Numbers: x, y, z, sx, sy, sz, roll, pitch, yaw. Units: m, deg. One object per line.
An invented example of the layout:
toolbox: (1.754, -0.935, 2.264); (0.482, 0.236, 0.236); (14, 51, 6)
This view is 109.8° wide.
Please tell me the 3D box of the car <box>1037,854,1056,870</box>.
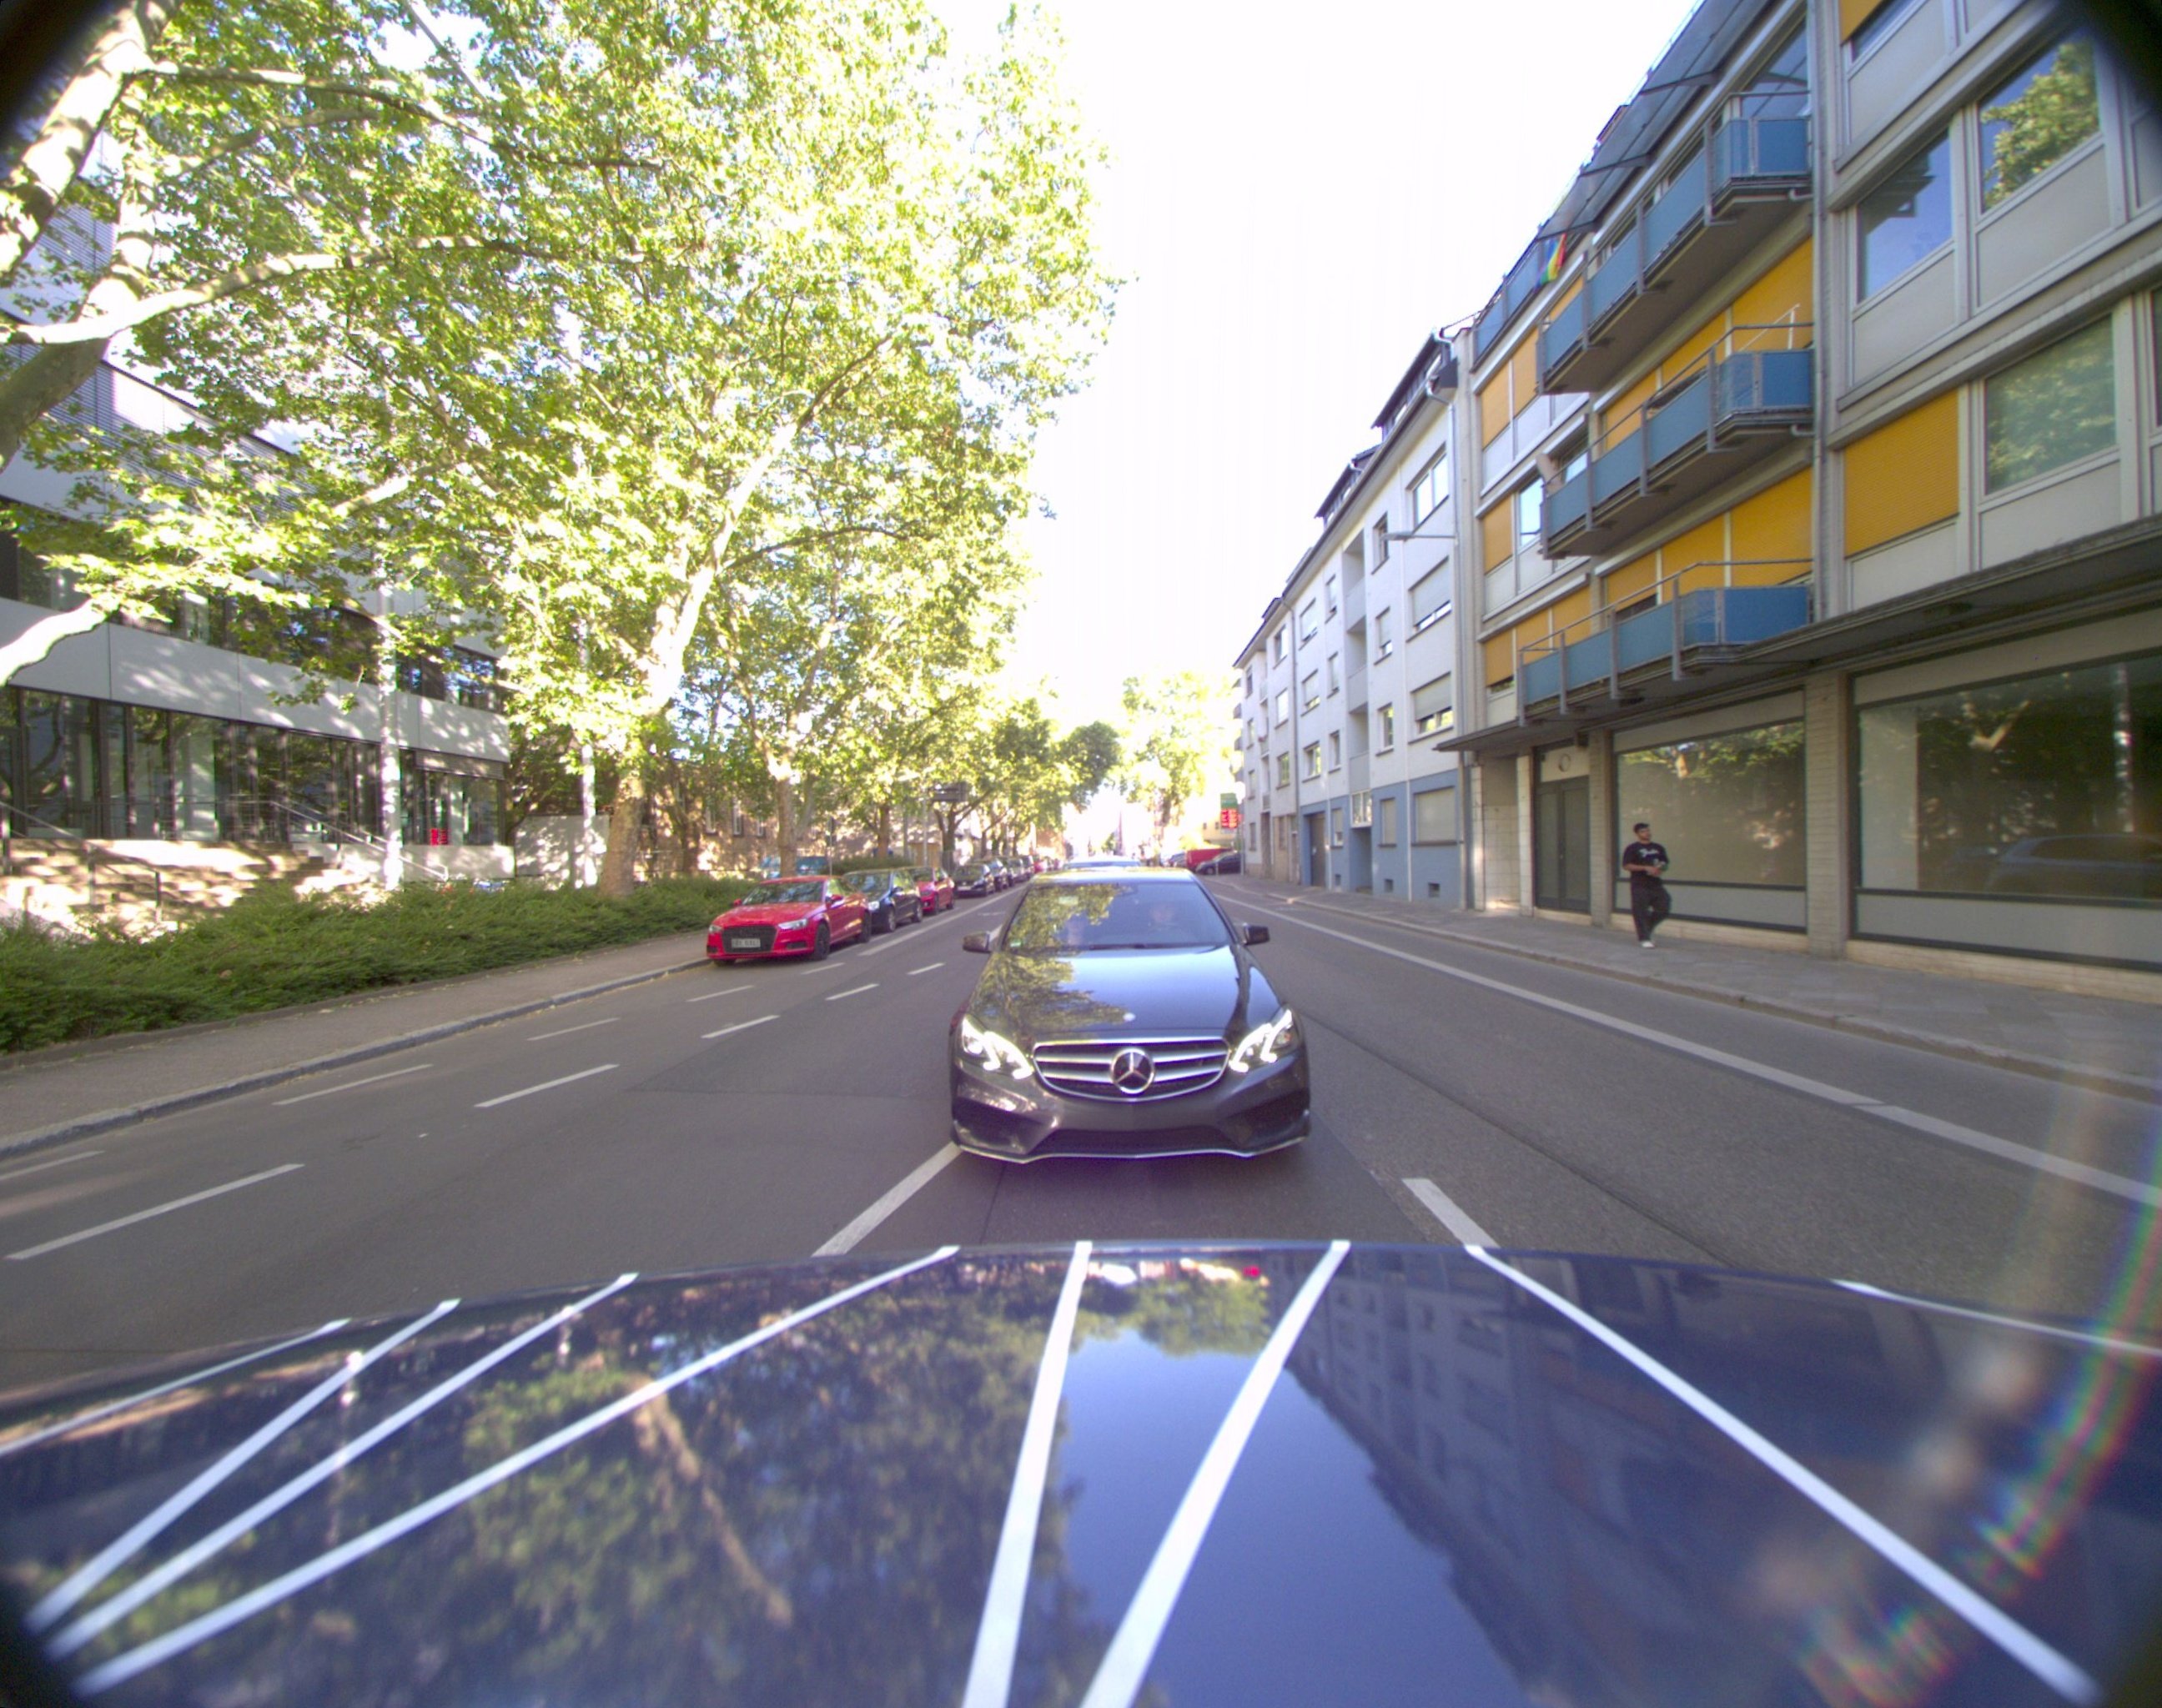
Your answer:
car: (-3.778, 0.886, 83.518); (1.755, 1.652, 4.447); (-3, 0, 1)

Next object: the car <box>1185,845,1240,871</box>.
car: (10.329, 0.311, 60.084); (3.997, 1.926, 1.867); (-2, 0, 1)

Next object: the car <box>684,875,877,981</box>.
car: (-5.126, 1.187, 13.603); (1.755, 1.400, 4.000); (-3, 0, 1)

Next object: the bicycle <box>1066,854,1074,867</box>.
bicycle: (-0.944, 0.548, 66.150); (0.574, 1.053, 1.595); (-2, 0, 1)

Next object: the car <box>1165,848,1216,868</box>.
car: (11.284, 0.386, 78.723); (4.991, 1.926, 2.083); (-2, 0, 1)

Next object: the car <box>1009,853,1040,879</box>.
car: (-4.104, 0.833, 55.759); (1.755, 1.753, 4.447); (-3, 0, 1)

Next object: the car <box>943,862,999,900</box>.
car: (-4.751, 1.126, 33.296); (1.755, 1.424, 3.909); (-3, 0, 1)

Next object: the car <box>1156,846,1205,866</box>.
car: (11.187, 0.216, 85.524); (5.143, 2.135, 2.187); (-2, 0, 1)

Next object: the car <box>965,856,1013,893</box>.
car: (-4.564, 0.985, 38.266); (1.755, 1.644, 4.174); (-3, 0, 1)

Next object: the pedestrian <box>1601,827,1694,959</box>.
pedestrian: (7.933, 0.533, 10.670); (0.663, 1.761, 0.793); (-2, 1, 1)

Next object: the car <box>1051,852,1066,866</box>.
car: (-3.018, 0.669, 103.206); (1.755, 1.652, 4.447); (-3, 0, 1)

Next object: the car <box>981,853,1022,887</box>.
car: (-4.555, 0.880, 44.065); (1.755, 1.810, 4.447); (-3, 0, 1)

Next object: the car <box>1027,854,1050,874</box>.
car: (-4.005, 0.917, 72.178); (1.755, 1.652, 4.447); (-3, 0, 1)

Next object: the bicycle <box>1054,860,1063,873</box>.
bicycle: (-1.968, 1.078, 66.003); (0.650, 1.053, 1.595); (-2, 0, 1)

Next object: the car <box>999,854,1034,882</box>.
car: (-4.274, 0.891, 50.948); (1.755, 1.718, 4.447); (-3, 0, 1)

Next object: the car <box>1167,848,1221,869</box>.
car: (11.270, 0.417, 76.225); (5.054, 1.926, 2.161); (-2, 0, 1)

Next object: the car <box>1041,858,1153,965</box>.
car: (0.269, 0.891, 13.612); (1.667, 1.563, 4.000); (-1, 0, 1)

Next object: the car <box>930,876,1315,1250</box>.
car: (0.211, 0.986, 5.360); (1.667, 1.499, 4.000); (-1, 0, 1)

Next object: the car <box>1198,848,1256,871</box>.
car: (10.911, 0.401, 56.994); (3.997, 1.552, 1.743); (-2, 0, 1)

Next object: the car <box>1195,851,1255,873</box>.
car: (10.355, 0.572, 54.784); (3.997, 1.412, 1.743); (-2, 0, 1)

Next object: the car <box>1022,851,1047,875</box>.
car: (-3.999, 0.742, 66.392); (1.755, 1.941, 4.447); (-3, 0, 1)

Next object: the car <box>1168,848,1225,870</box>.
car: (11.097, 0.456, 73.525); (5.143, 1.926, 2.187); (-2, 0, 1)

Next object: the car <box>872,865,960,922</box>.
car: (-5.036, 1.153, 23.658); (1.755, 1.459, 3.909); (-3, 0, 1)

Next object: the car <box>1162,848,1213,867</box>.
car: (11.320, 0.361, 81.188); (5.042, 1.926, 2.315); (-2, 0, 1)

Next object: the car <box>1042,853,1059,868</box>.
car: (-3.650, 0.790, 93.007); (1.755, 1.652, 4.447); (-3, 0, 1)

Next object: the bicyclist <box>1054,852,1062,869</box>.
bicyclist: (-1.977, 0.573, 66.016); (0.650, 1.427, 0.741); (-2, 1, 1)

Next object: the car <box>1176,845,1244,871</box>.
car: (10.634, 0.305, 63.109); (5.223, 1.969, 2.257); (-2, 0, 1)

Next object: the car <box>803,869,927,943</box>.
car: (-5.086, 1.178, 18.446); (1.755, 1.424, 3.909); (-3, 0, 1)
